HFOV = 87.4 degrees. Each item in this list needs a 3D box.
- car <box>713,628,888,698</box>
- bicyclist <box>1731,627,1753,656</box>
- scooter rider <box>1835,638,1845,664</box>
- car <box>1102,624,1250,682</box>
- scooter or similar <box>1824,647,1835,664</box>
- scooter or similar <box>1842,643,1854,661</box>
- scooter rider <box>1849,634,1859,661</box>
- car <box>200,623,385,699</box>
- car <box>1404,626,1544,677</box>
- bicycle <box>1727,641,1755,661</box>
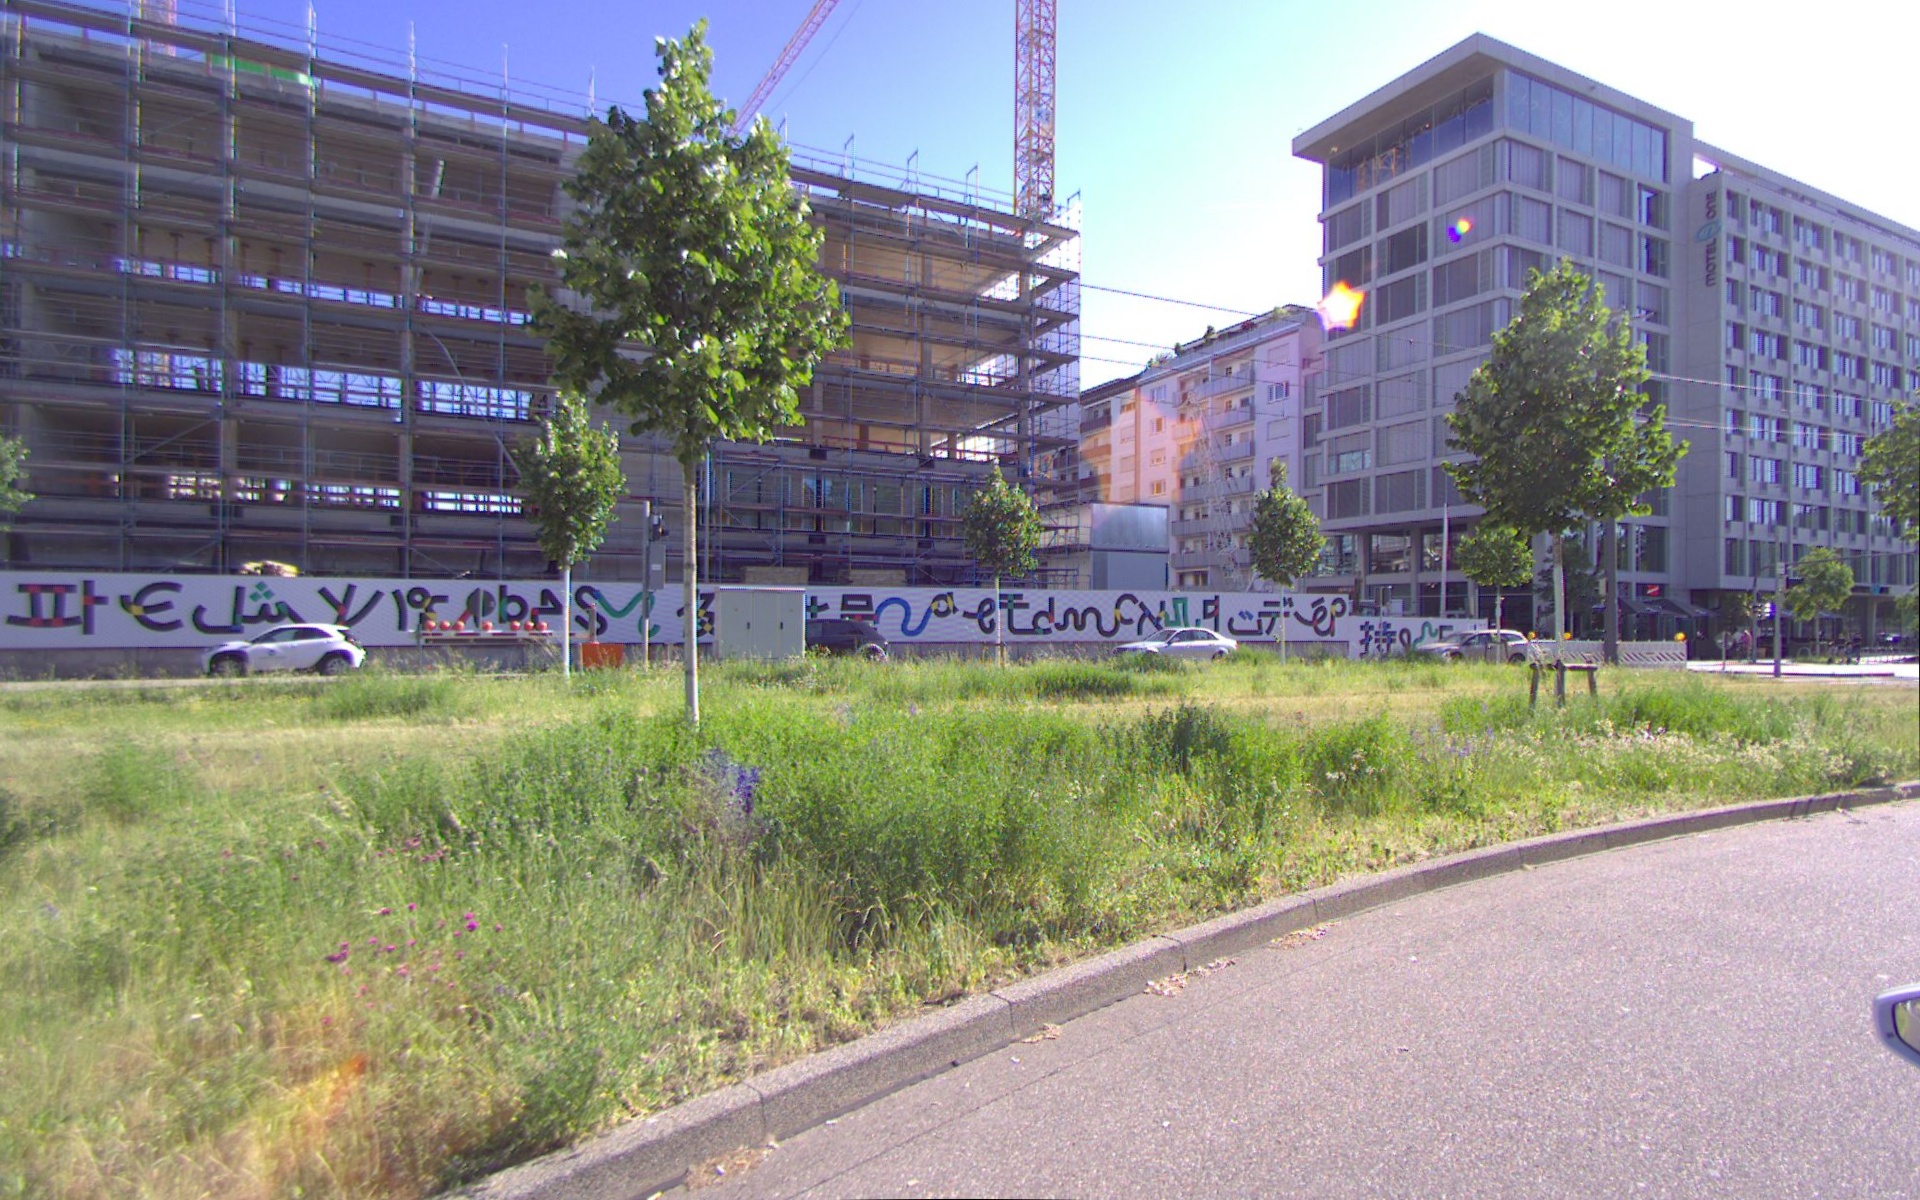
[{"bbox_3d":[-4.458,1.697,28.062,4.465,1.816,1.988,1,-1,-25],"label":"car"},{"bbox_3d":[44.735,2.359,57.475,0.880,1.601,0.592,2,0,-23],"label":"bicyclist"},{"bbox_3d":[49.335,2.868,56.334,0.236,1.472,0.341,1,-1,-26],"label":"scooter rider"},{"bbox_3d":[7.136,1.707,33.232,4.458,1.816,1.991,1,-1,-20],"label":"car"},{"bbox_3d":[49.024,3.144,56.642,0.759,0.960,0.283,1,-1,-35],"label":"scooter or similar"},{"bbox_3d":[49.268,2.894,55.725,0.757,0.960,0.227,1,-1,-27],"label":"scooter or similar"},{"bbox_3d":[49.512,2.635,55.625,0.236,1.472,0.341,1,-1,-26],"label":"scooter rider"},{"bbox_3d":[-18.104,1.607,27.497,3.932,1.943,1.903,1,-1,-25],"label":"car"},{"bbox_3d":[19.176,1.916,37.542,4.449,1.816,1.995,1,-1,-13],"label":"car"},{"bbox_3d":[44.757,2.938,57.561,1.599,1.115,0.585,2,0,-23],"label":"bicycle"}]
